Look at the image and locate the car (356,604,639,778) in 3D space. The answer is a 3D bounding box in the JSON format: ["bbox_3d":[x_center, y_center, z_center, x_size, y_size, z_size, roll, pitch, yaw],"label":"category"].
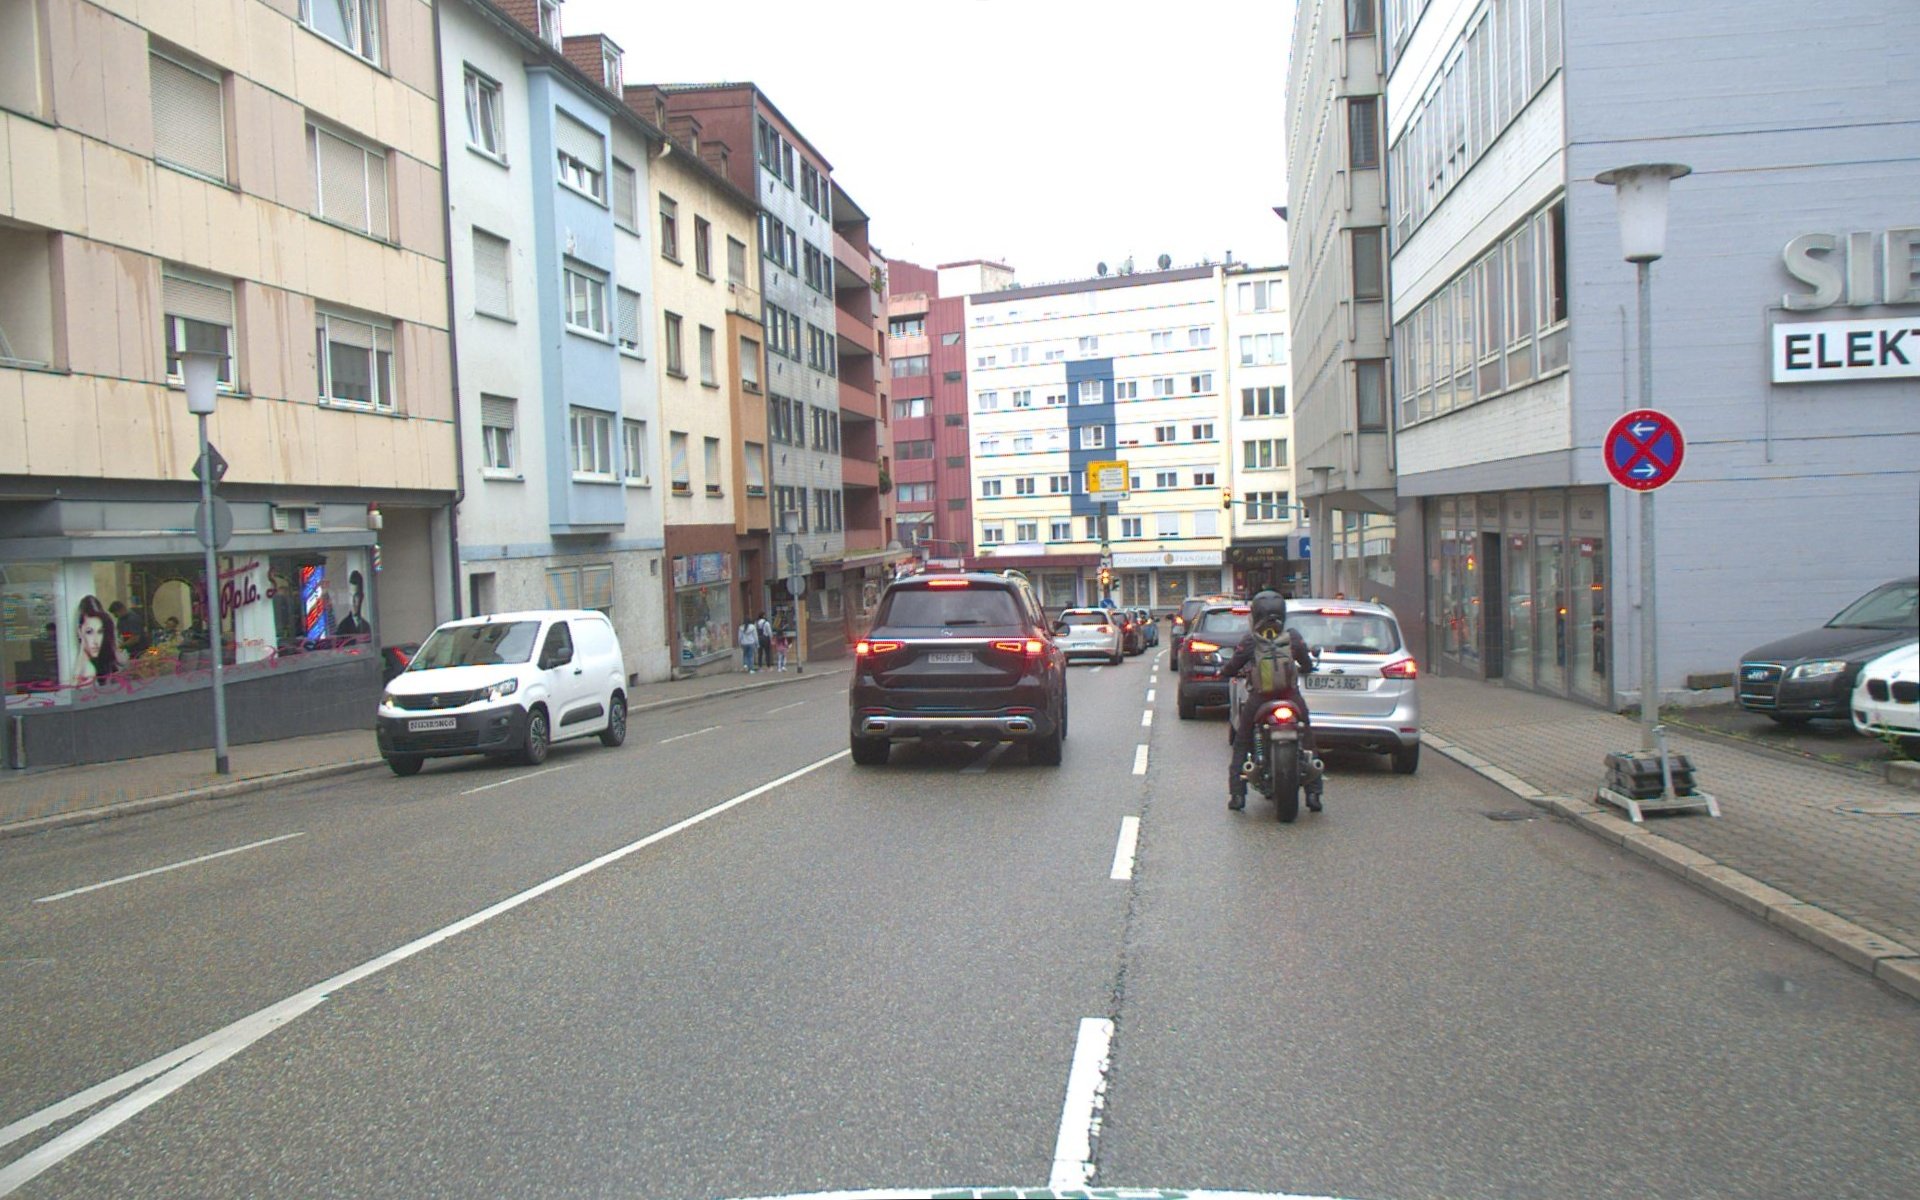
[{"bbox_3d":[-5.513,1.020,20.340,1.822,1.835,4.269,-3,-1,6],"label":"car"}]

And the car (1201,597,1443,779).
[{"bbox_3d":[3.541,0.784,16.897,1.788,1.568,4.254,2,0,4],"label":"car"}]

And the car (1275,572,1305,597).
[{"bbox_3d":[23.815,-1.100,119.334,1.759,1.699,4.003,-2,0,16],"label":"car"}]

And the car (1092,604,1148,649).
[{"bbox_3d":[5.901,1.008,60.586,1.884,1.542,4.666,0,-2,8],"label":"car"}]

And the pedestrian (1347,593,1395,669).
[{"bbox_3d":[8.936,0.663,35.994,0.749,1.578,0.891,-4,-1,4],"label":"pedestrian"}]

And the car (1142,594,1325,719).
[{"bbox_3d":[3.779,0.750,23.560,1.786,1.587,4.199,1,-1,-2],"label":"car"}]

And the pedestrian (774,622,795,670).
[{"bbox_3d":[-5.006,1.303,47.277,0.522,1.346,0.723,0,-1,-1],"label":"pedestrian"}]

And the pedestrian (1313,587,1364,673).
[{"bbox_3d":[8.000,0.635,35.022,0.767,1.735,1.121,-4,-1,4],"label":"pedestrian"}]

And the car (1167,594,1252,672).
[{"bbox_3d":[5.970,0.764,39.996,1.857,1.724,4.508,1,0,7],"label":"car"}]

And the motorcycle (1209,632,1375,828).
[{"bbox_3d":[2.374,0.883,12.135,0.827,1.247,2.374,1,0,3],"label":"motorcycle"}]

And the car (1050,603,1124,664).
[{"bbox_3d":[3.436,0.857,44.102,1.833,1.521,4.403,-1,0,6],"label":"car"}]

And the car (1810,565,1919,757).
[{"bbox_3d":[9.621,0.441,14.101,3.913,1.556,1.760,-2,0,-9],"label":"car"}]

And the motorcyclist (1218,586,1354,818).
[{"bbox_3d":[2.376,0.721,12.168,0.827,1.617,0.963,1,-1,2],"label":"motorcyclist"}]

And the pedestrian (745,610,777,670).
[{"bbox_3d":[-5.675,1.136,47.236,0.810,1.719,0.723,0,-1,-1],"label":"pedestrian"}]

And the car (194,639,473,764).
[{"bbox_3d":[-10.508,1.680,27.929,3.909,1.372,1.679,-9,1,0],"label":"car"}]

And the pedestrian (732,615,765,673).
[{"bbox_3d":[-5.879,1.224,46.042,0.810,1.588,0.723,0,-1,-1],"label":"pedestrian"}]

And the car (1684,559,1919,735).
[{"bbox_3d":[9.689,0.362,16.724,3.915,1.475,1.795,-5,0,-10],"label":"car"}]

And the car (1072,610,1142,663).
[{"bbox_3d":[4.685,1.133,52.340,1.951,1.512,4.240,-2,-1,8],"label":"car"}]

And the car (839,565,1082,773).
[{"bbox_3d":[0.166,0.622,16.973,1.995,1.830,4.666,-1,0,6],"label":"car"}]
